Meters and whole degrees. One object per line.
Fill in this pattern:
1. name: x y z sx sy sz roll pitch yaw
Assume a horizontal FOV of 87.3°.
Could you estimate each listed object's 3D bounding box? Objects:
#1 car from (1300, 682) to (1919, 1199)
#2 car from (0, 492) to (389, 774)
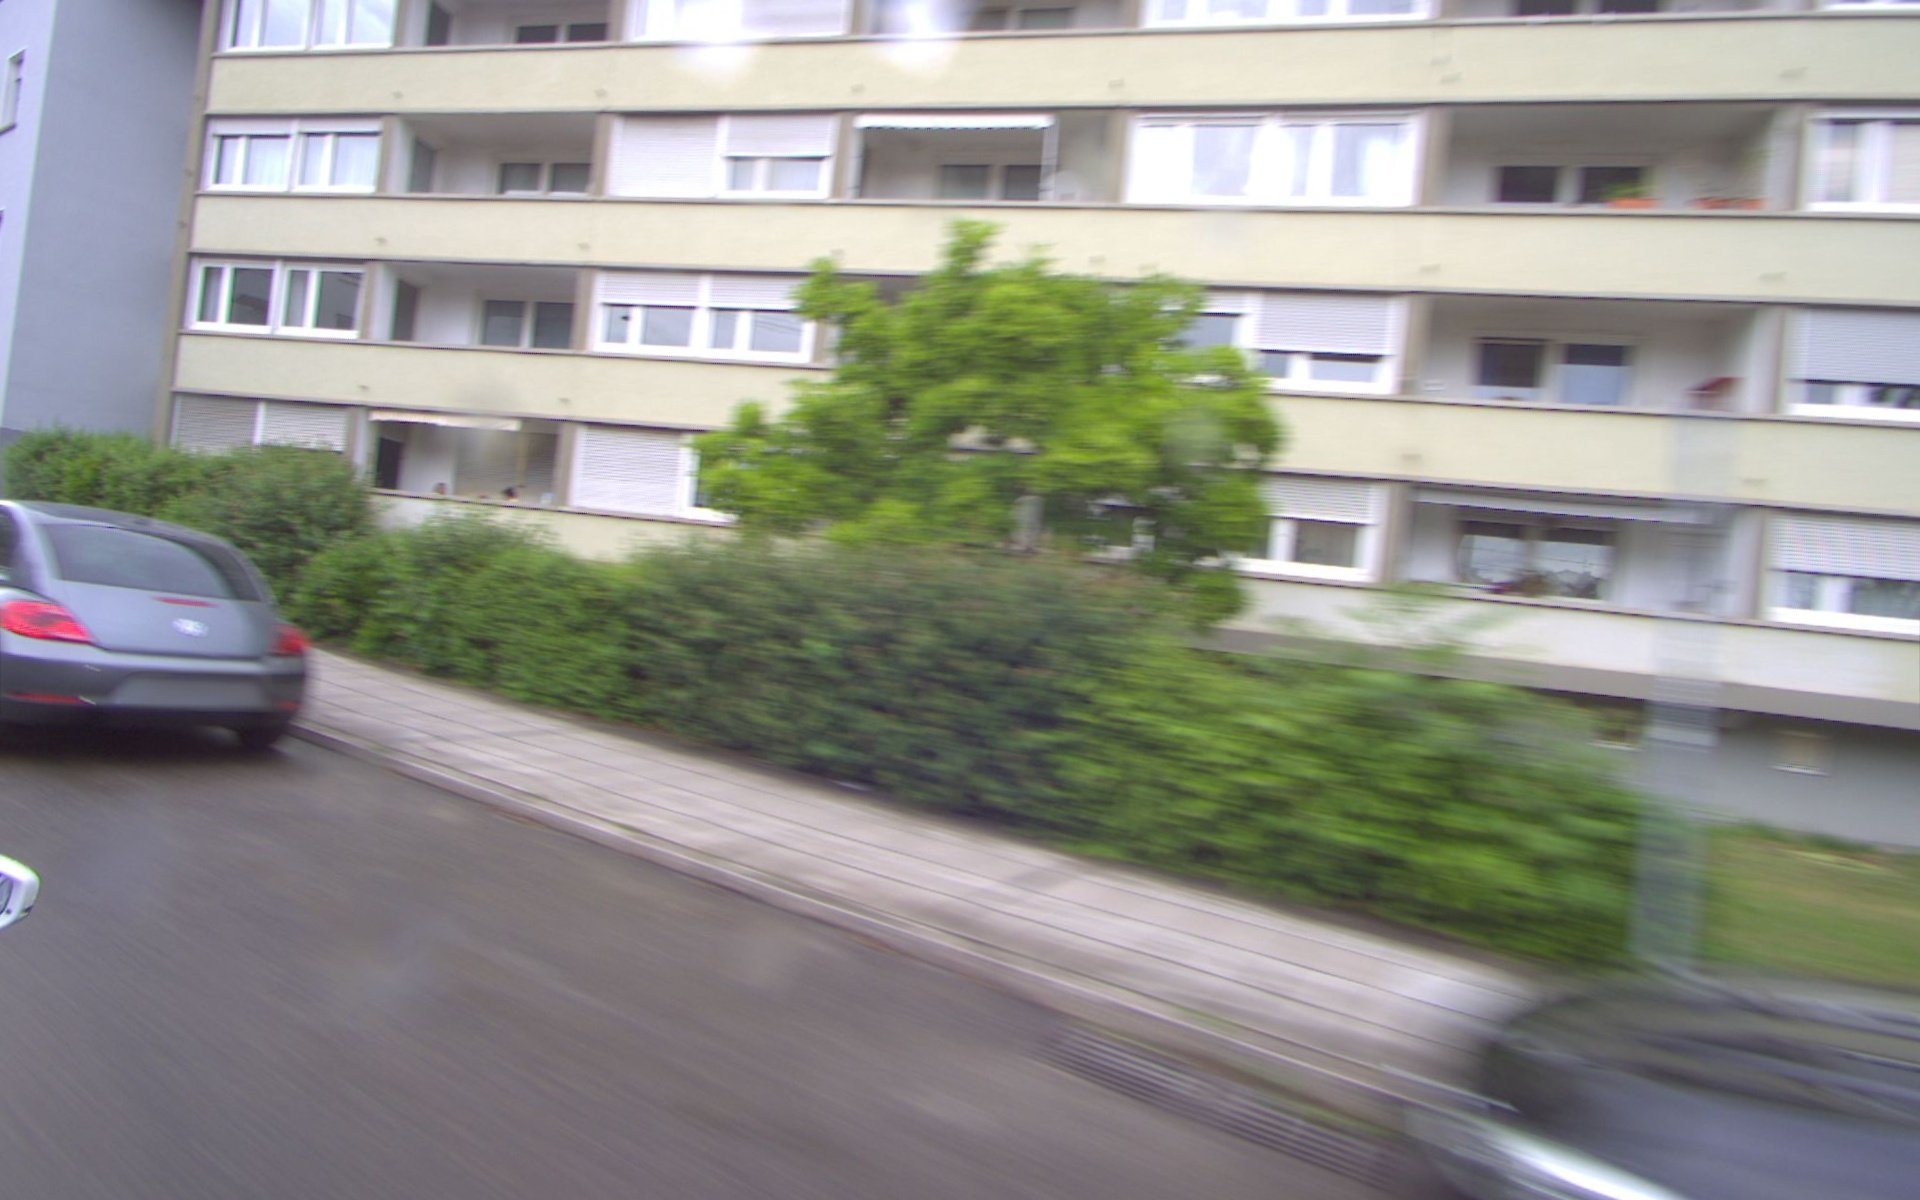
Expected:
1. car: 3.046 1.211 1.466 4.567 1.504 1.862 6 -2 30
2. car: -6.325 0.090 7.185 4.135 1.480 1.945 6 -3 30
